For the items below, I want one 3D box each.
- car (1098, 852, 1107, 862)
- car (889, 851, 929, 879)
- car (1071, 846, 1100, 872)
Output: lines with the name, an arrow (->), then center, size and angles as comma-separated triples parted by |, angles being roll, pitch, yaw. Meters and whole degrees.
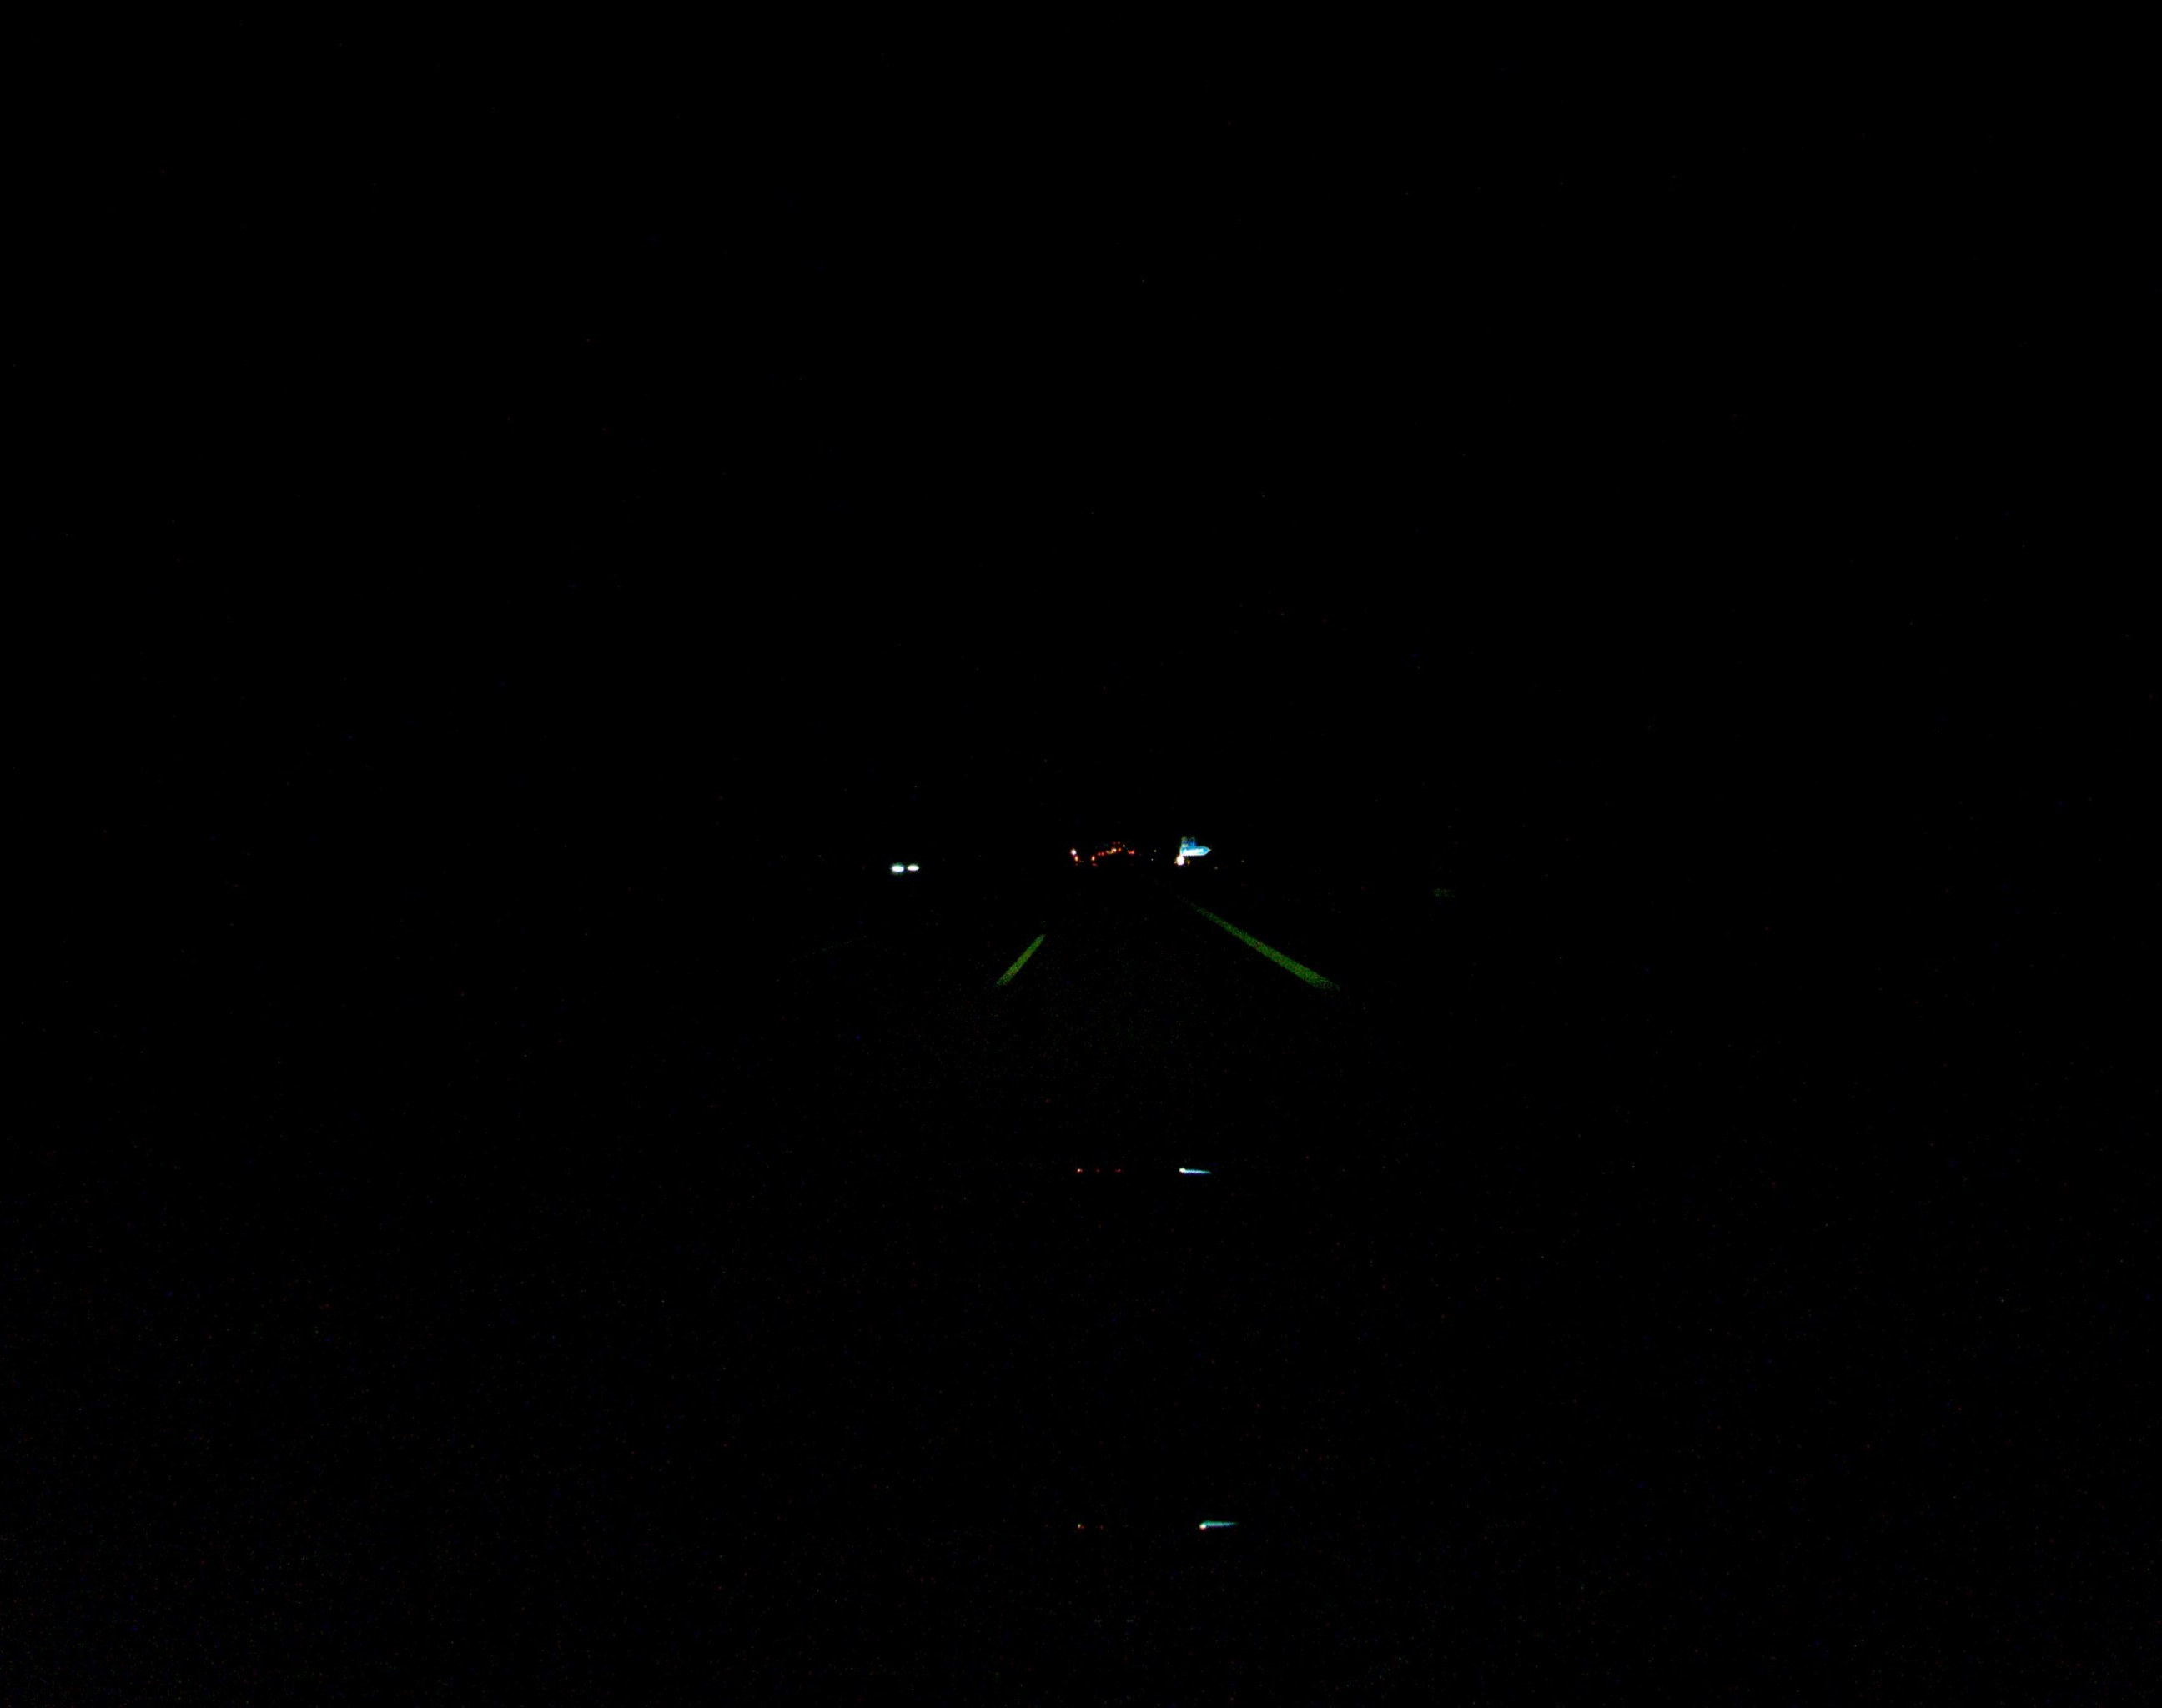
car -> 6.700, 1.009, 257.130 | 2.777, 2.734, 6.299 | -1, -2, 1
car -> -18.807, 1.256, 89.348 | 2.835, 2.938, 6.604 | -1, -1, 2
car -> 0.535, 0.591, 89.355 | 2.775, 2.734, 6.302 | -1, -2, 3
